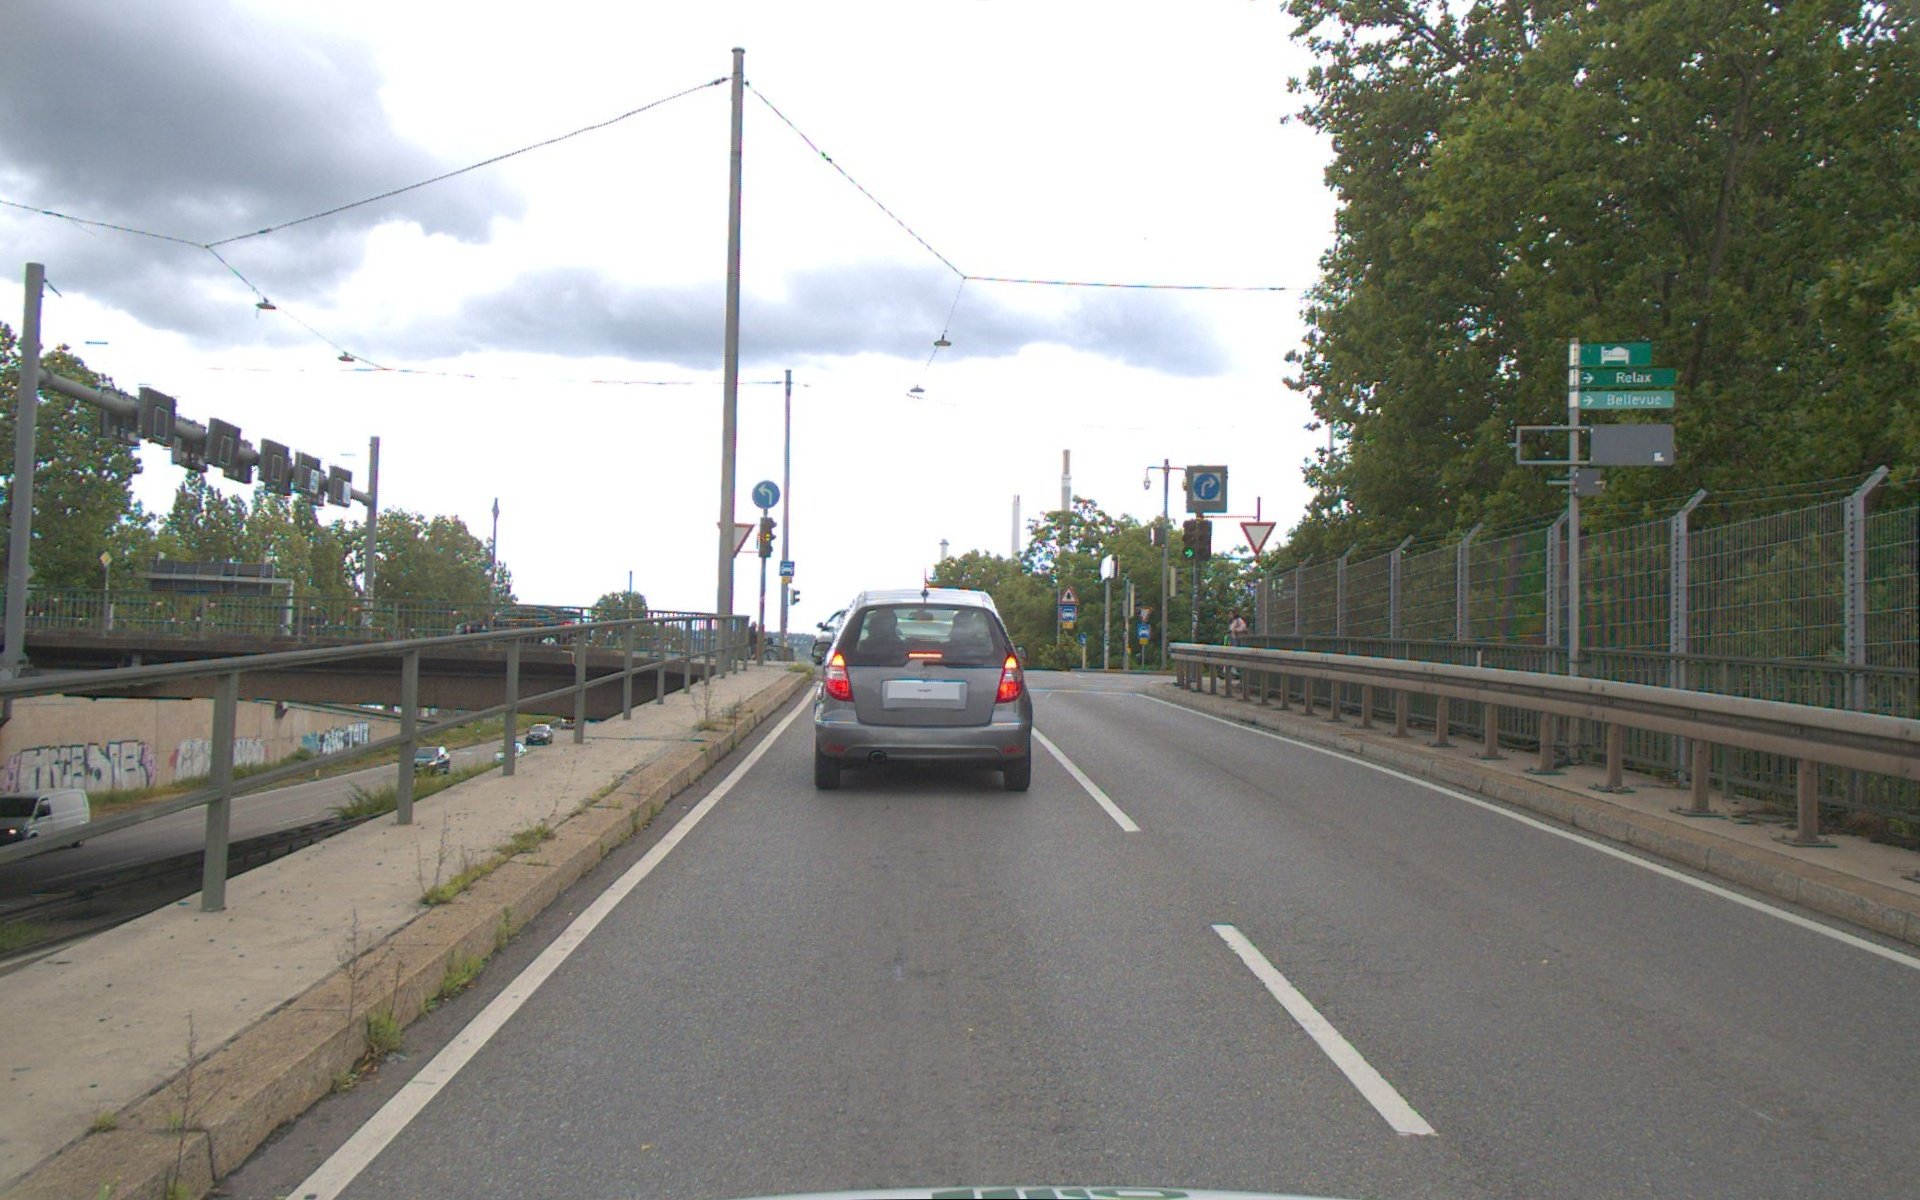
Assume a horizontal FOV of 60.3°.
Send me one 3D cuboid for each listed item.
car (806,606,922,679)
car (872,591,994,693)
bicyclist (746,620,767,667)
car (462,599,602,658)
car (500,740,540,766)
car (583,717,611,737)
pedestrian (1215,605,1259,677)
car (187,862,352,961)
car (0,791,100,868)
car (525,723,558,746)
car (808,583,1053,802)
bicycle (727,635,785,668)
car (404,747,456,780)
[{"bbox_3d":[-2.514,1.058,42.469,1.903,1.747,3.976,1,0,-20],"label":"car"},{"bbox_3d":[-0.579,0.735,30.968,1.894,1.747,4.400,1,0,-6],"label":"car"},{"bbox_3d":[-7.403,1.570,60.082,0.642,1.703,0.867,1,0,-13],"label":"bicyclist"},{"bbox_3d":[-13.302,0.872,51.572,3.908,1.747,1.936,1,0,-4],"label":"car"},{"bbox_3d":[-28.962,10.045,108.926,1.694,1.555,4.084,1,-3,-2],"label":"car"},{"bbox_3d":[-35.731,12.494,162.954,1.953,1.874,4.420,1,-3,-3],"label":"car"},{"bbox_3d":[6.661,0.997,39.844,0.816,1.707,0.978,1,-3,-5],"label":"pedestrian"},{"bbox_3d":[-14.301,6.441,34.506,1.707,1.477,4.164,0,-3,-1],"label":"car"},{"bbox_3d":[-30.853,7.583,55.071,1.954,2.103,5.172,1,-3,-4],"label":"car"},{"bbox_3d":[-36.466,11.694,144.210,1.892,1.874,4.407,0,-3,-3],"label":"car"},{"bbox_3d":[-0.227,0.692,14.450,1.820,1.616,4.000,1,0,0],"label":"car"},{"bbox_3d":[-7.418,1.860,60.065,1.997,1.144,0.926,1,0,-14],"label":"bicycle"},{"bbox_3d":[-31.684,9.745,98.940,1.877,1.769,4.549,0,-3,-3],"label":"car"}]
